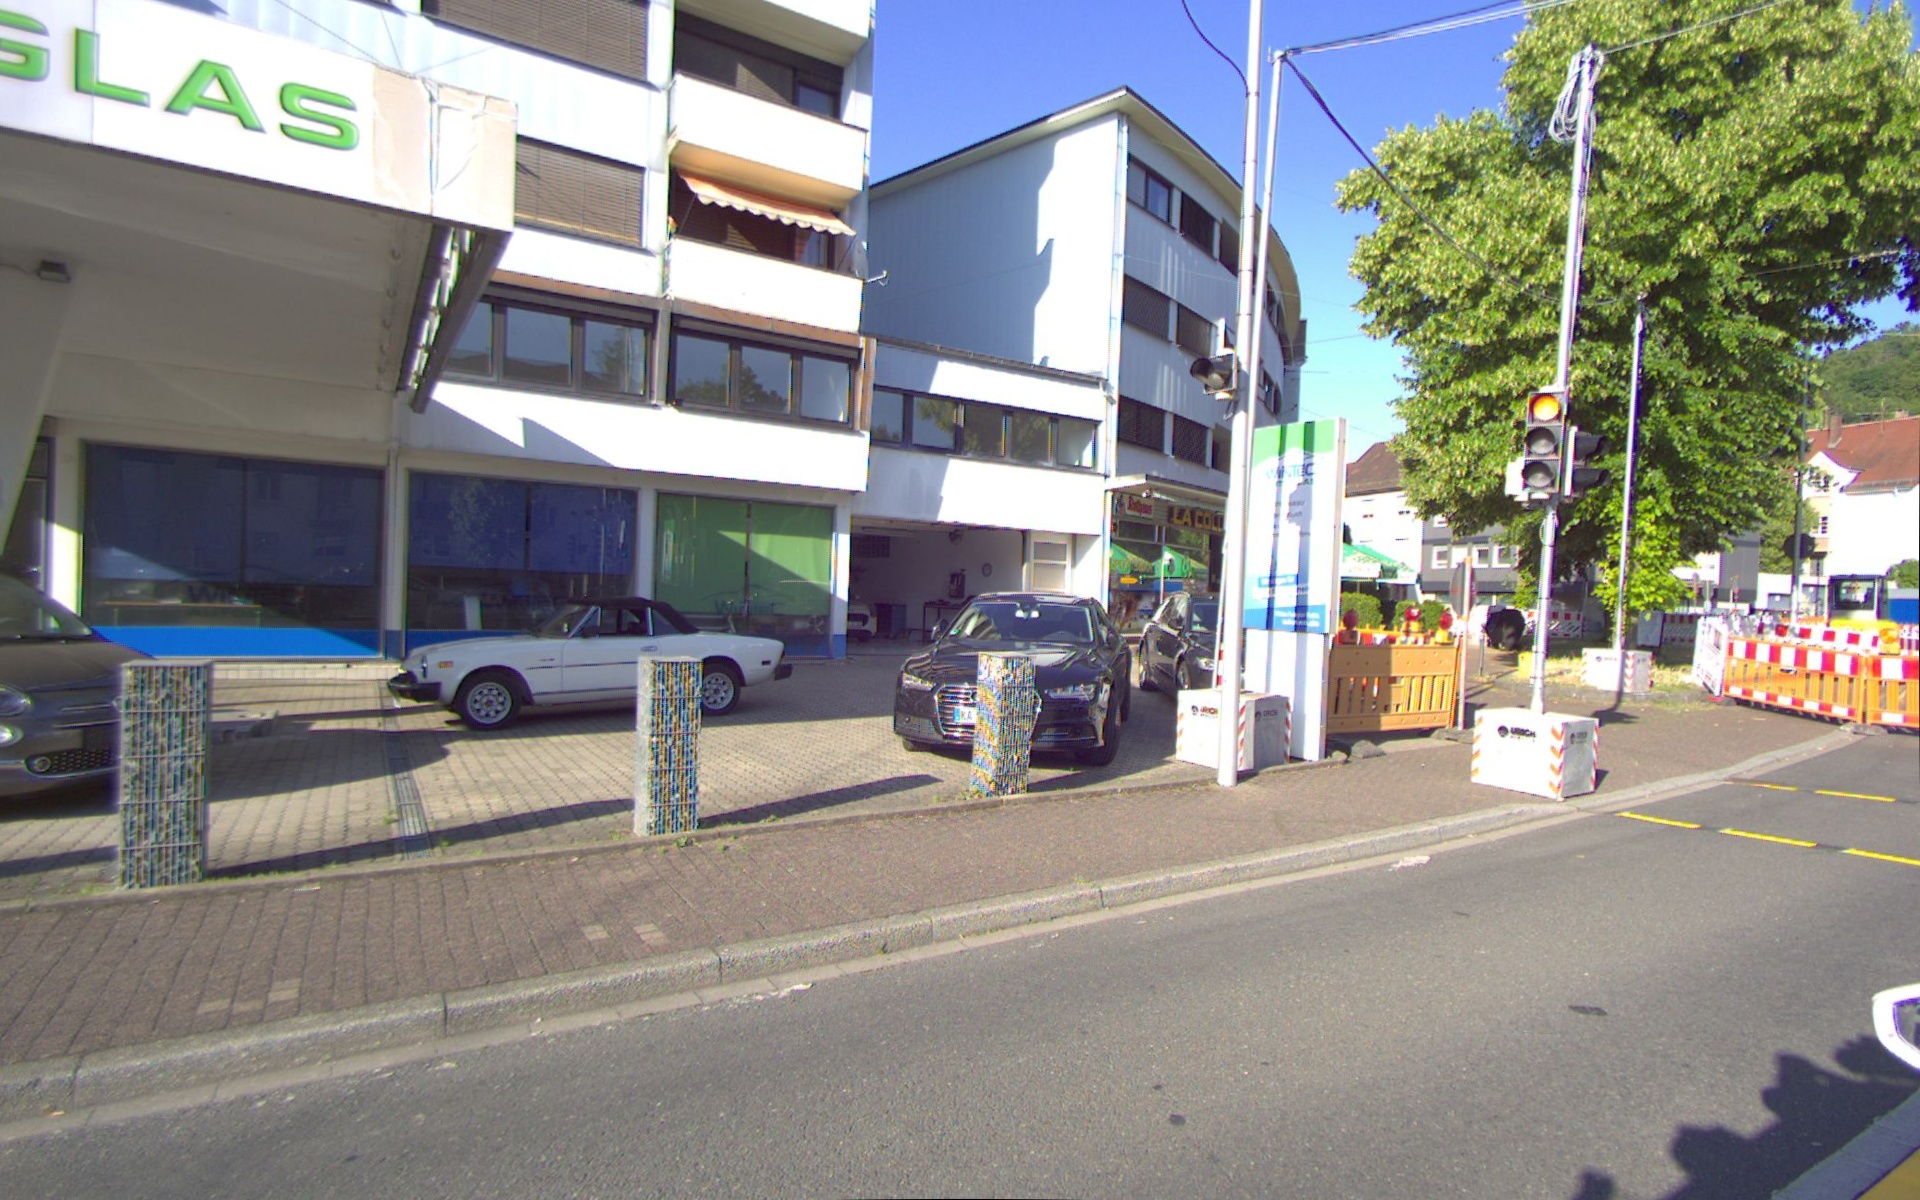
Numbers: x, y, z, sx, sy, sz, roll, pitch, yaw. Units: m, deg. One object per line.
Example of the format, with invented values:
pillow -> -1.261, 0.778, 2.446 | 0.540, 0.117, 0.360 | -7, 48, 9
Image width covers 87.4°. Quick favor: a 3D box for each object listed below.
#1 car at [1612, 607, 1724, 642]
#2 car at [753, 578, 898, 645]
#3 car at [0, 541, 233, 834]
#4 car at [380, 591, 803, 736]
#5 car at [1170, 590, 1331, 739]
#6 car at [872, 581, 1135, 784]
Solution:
car -> 32.617, 1.107, 46.384 | 1.771, 1.428, 3.985 | 2, 0, -17
car -> -3.413, 0.239, 24.879 | 1.980, 1.486, 3.961 | 1, 1, -34
car -> -6.753, 0.416, 6.305 | 3.325, 1.589, 1.623 | 2, 1, 8
car -> -3.918, 0.581, 10.981 | 4.098, 1.301, 1.576 | 0, 1, -35
car -> 3.551, 0.664, 12.908 | 1.617, 1.474, 4.301 | 2, 2, 12
car -> 0.681, 0.585, 9.927 | 1.872, 1.474, 4.315 | 2, 2, 12
